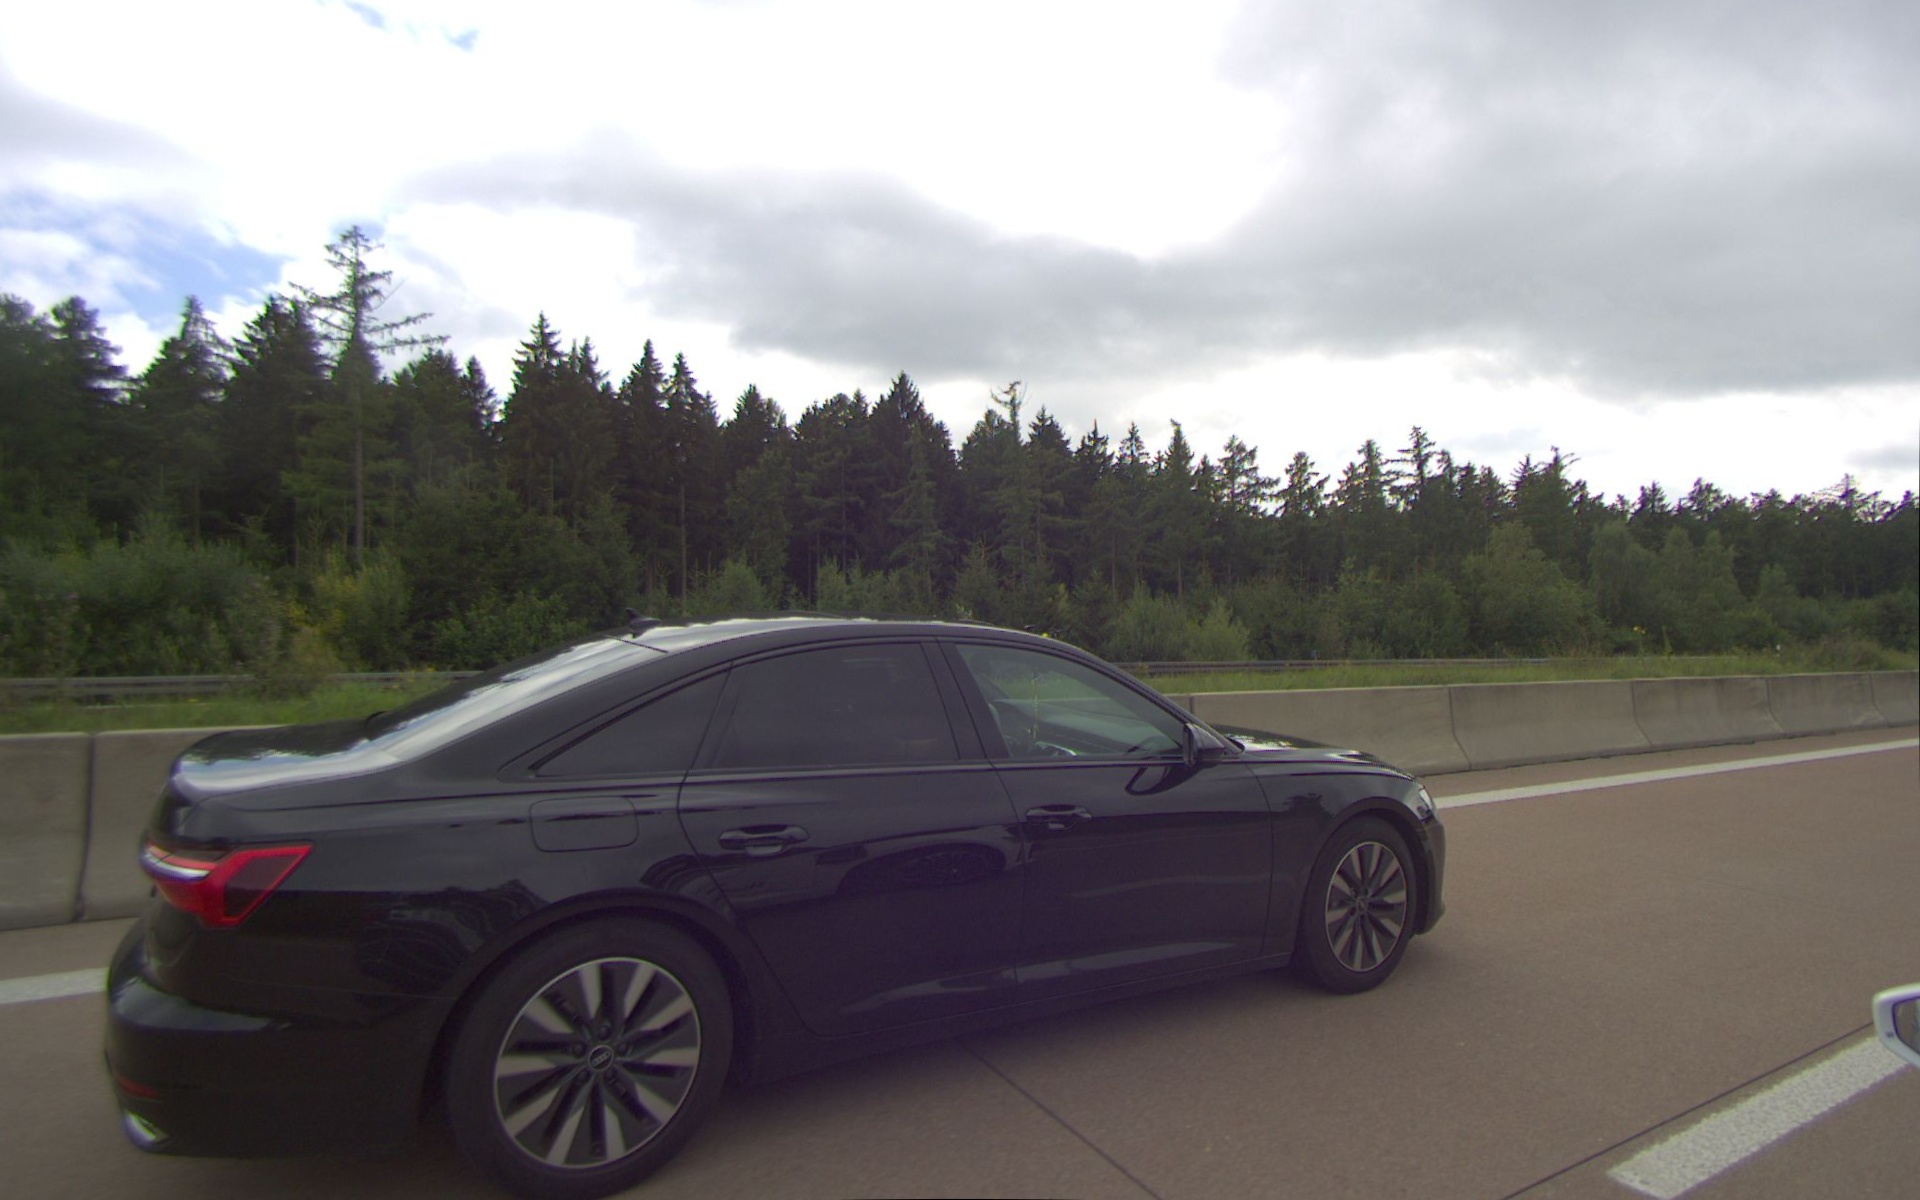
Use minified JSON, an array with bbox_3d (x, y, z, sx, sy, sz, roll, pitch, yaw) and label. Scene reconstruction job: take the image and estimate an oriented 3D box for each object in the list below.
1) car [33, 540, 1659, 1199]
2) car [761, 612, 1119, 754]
[{"bbox_3d":[0.228,0.707,4.169,5.603,1.571,2.076,1,0,-28],"label":"car"},{"bbox_3d":[-0.263,1.293,17.318,5.786,2.057,2.335,1,0,-30],"label":"car"}]
